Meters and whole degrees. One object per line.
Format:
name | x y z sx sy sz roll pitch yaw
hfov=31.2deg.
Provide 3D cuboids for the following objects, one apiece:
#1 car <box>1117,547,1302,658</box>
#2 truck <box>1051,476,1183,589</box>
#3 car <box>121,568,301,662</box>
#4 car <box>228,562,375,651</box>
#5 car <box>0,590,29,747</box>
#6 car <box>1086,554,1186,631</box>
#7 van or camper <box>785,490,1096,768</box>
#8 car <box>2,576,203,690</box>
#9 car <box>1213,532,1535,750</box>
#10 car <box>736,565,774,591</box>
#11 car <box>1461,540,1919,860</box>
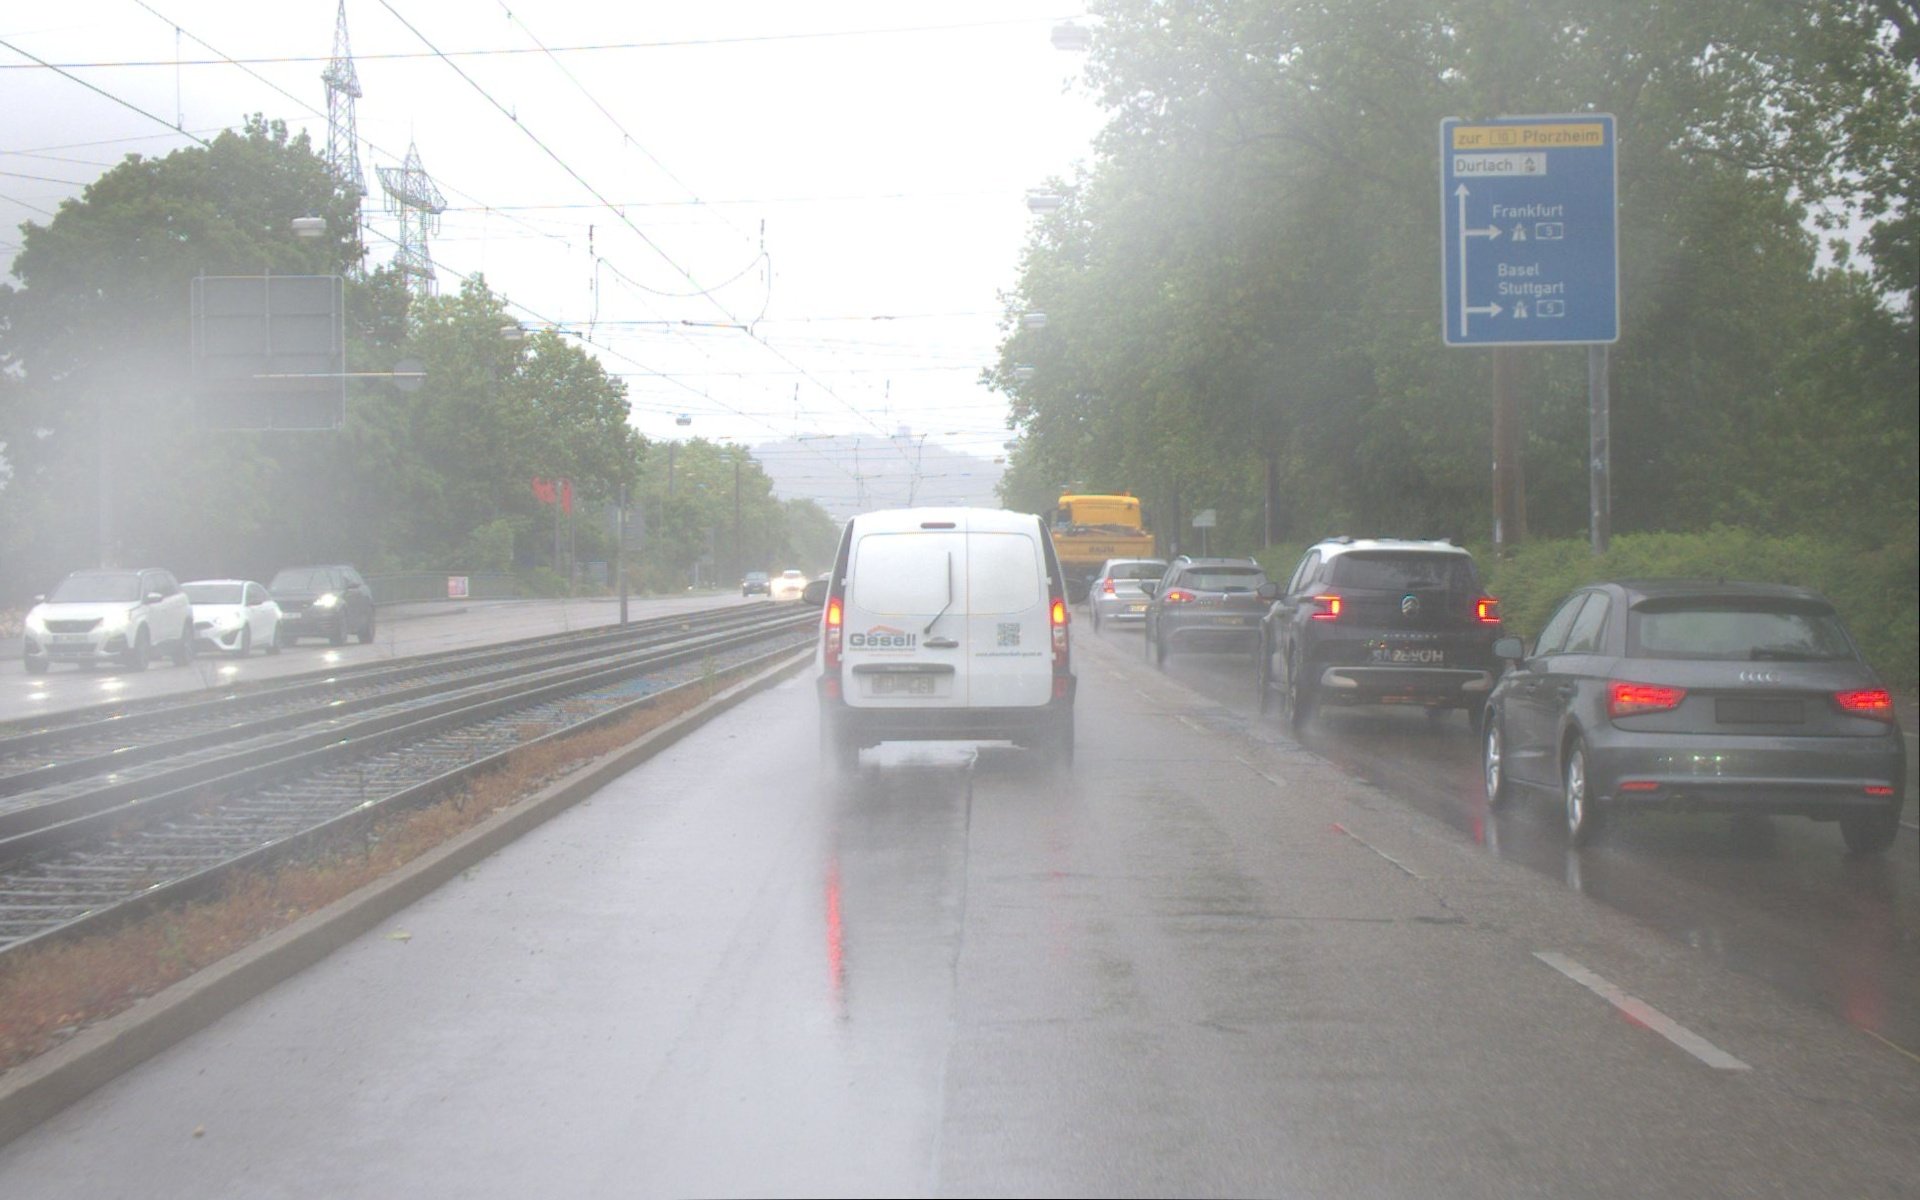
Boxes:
car | 3.371 0.006 47.133 1.818 1.409 3.779 1 1 -7
truck | 3.963 -1.720 88.049 3.113 2.764 6.329 0 1 0
car | -13.614 0.234 62.766 1.994 1.578 4.766 -1 1 3
car | -13.638 0.108 71.464 1.993 1.715 4.882 -1 1 1
car | -10.822 0.719 34.233 1.818 1.617 4.536 0 0 1
car | 3.424 -0.171 67.360 1.818 1.409 3.778 1 1 1
van or camper | -0.191 0.128 24.522 1.993 1.778 4.001 1 2 -2
car | -13.621 0.493 54.903 1.771 1.677 4.689 2 1 3
car | 3.517 0.287 30.131 1.899 1.711 4.726 1 1 -4
car | -12.999 -1.423 217.958 1.994 1.612 4.253 -1 1 2
car | 4.065 0.461 18.863 1.967 1.523 3.991 1 1 -1
